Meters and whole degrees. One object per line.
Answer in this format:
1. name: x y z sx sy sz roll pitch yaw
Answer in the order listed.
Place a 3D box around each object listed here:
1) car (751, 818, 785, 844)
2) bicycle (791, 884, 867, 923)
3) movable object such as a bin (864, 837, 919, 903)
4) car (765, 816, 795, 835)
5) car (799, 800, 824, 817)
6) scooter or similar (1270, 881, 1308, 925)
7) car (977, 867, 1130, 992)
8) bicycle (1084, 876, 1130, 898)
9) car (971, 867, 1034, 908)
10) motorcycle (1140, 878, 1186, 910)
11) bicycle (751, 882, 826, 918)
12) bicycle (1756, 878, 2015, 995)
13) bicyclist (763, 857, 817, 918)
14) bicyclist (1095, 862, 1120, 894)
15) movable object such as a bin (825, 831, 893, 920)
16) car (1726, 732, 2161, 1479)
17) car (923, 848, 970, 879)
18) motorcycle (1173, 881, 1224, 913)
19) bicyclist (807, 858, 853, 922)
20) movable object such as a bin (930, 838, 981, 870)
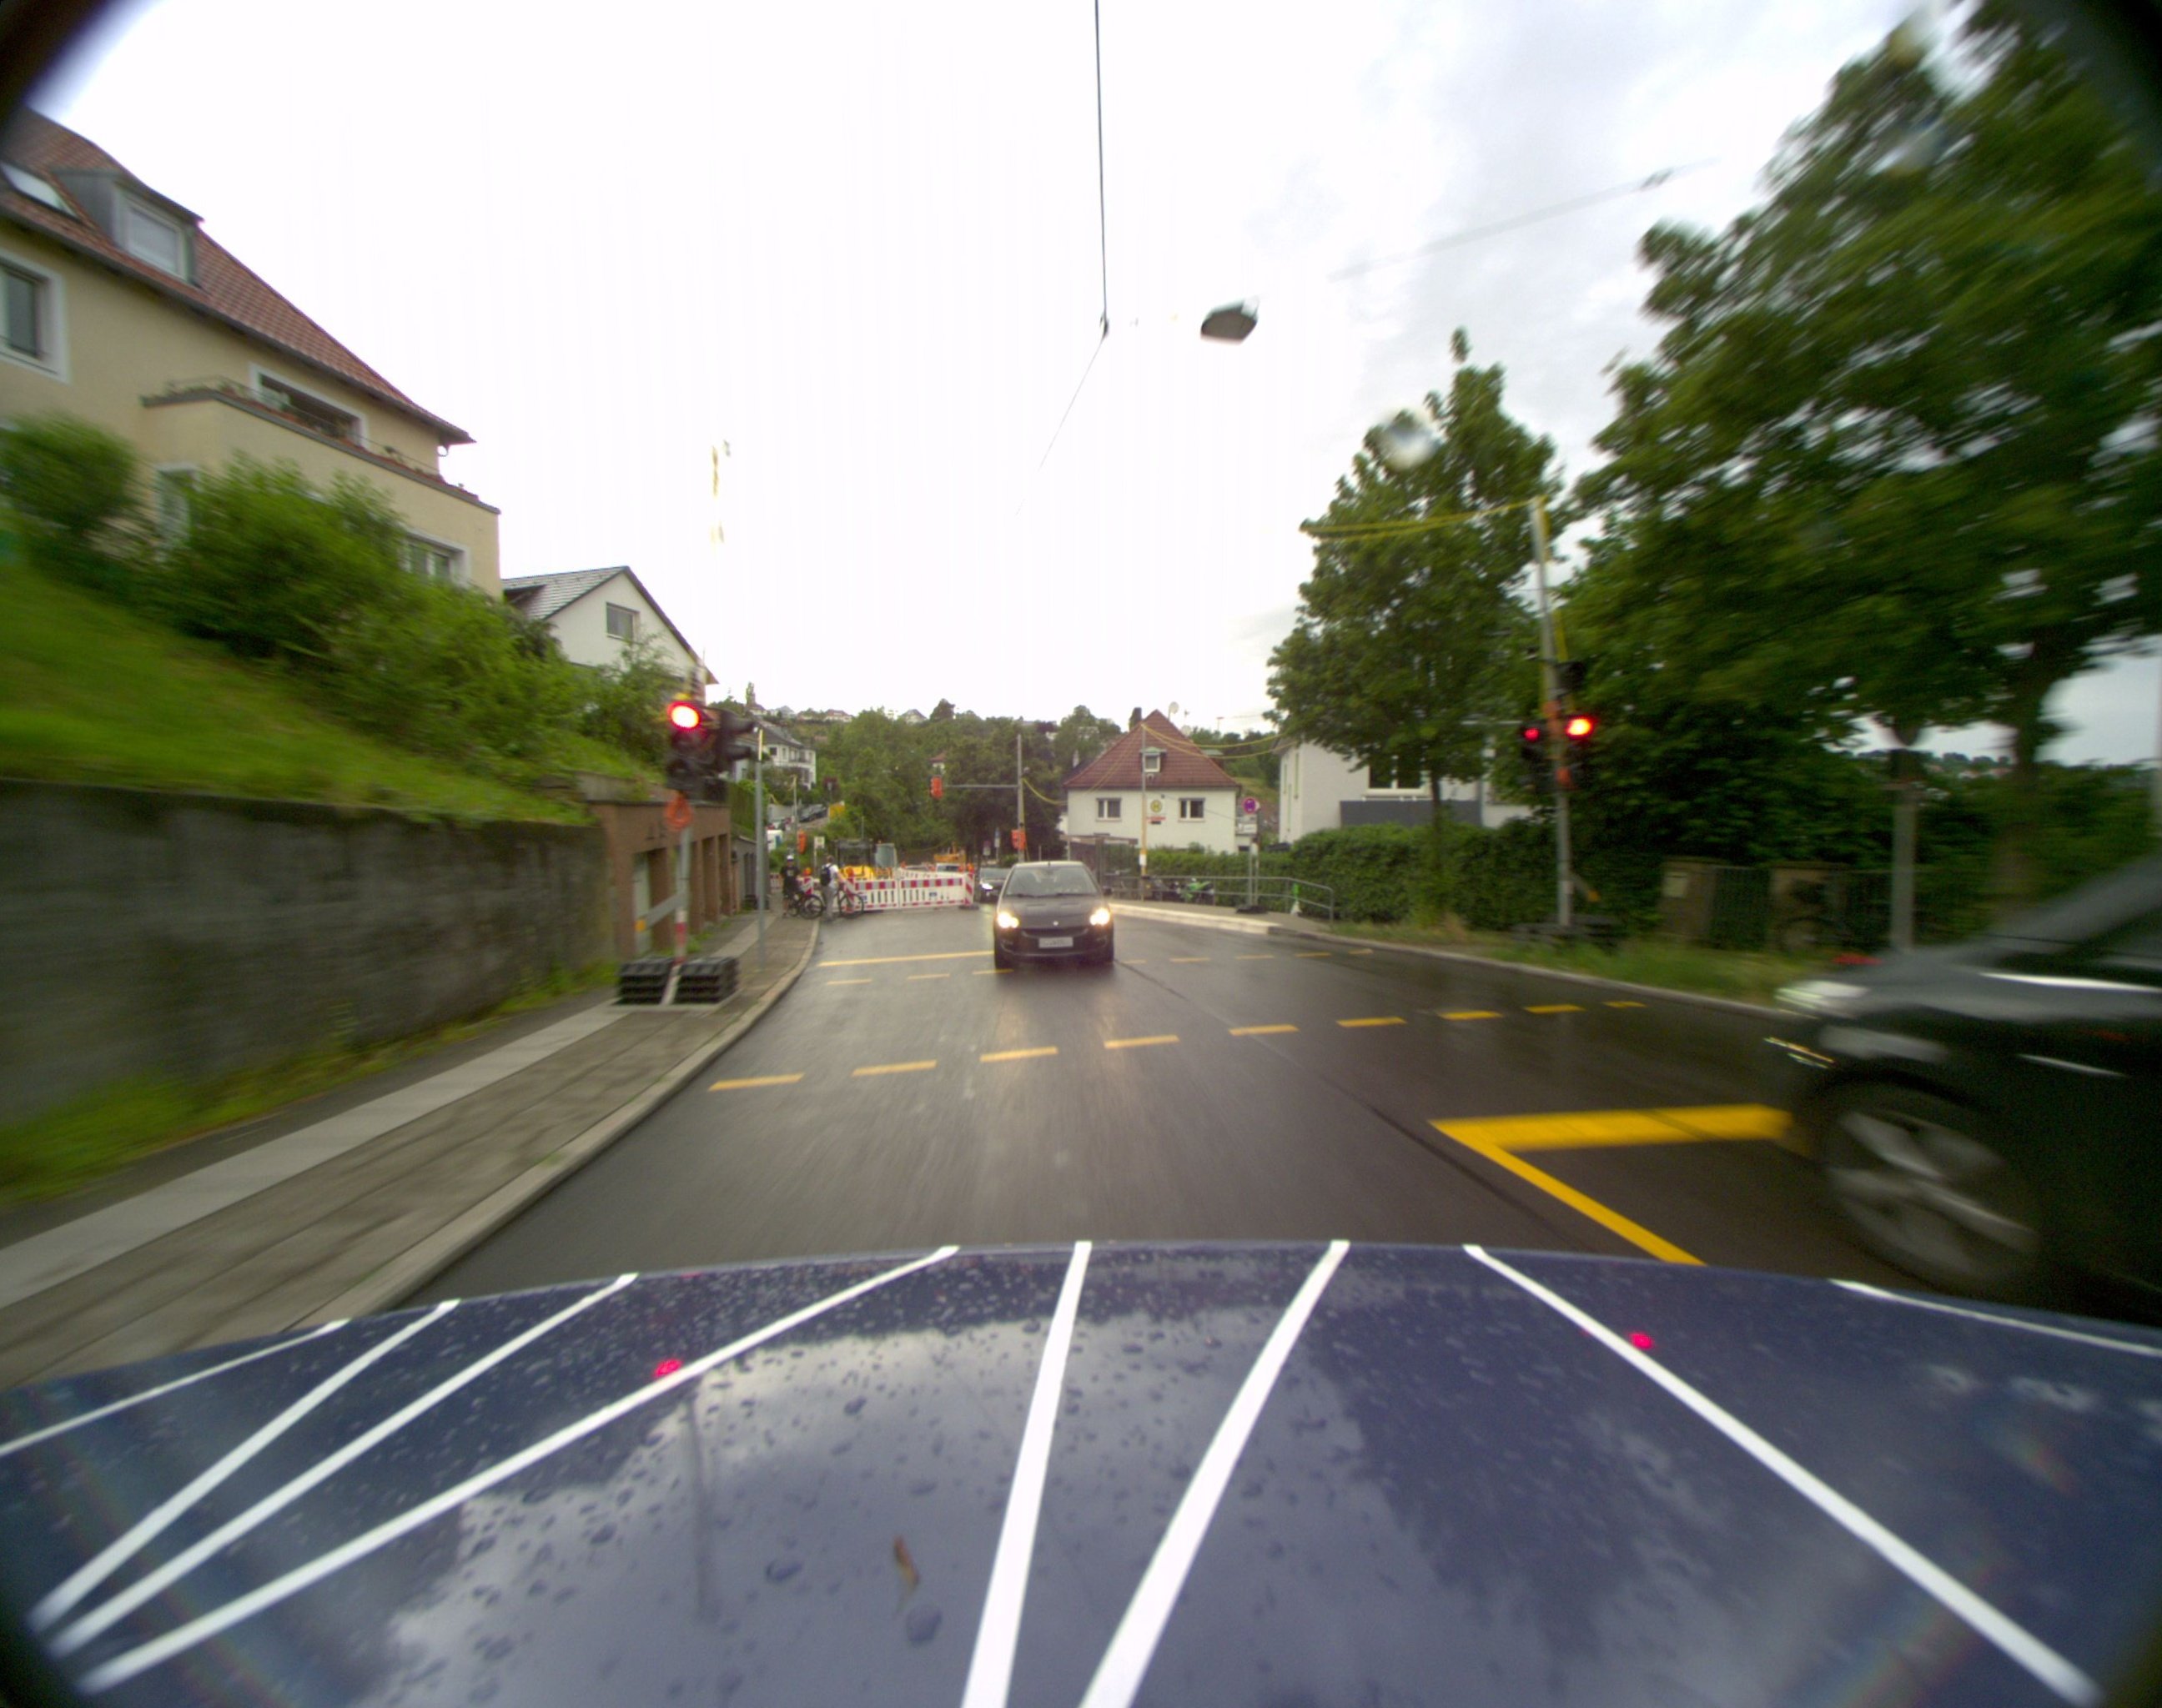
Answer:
1. car: -32.204 -2.431 78.214 1.901 2.069 4.420 1 9 -4
2. bicycle: -7.073 1.368 21.308 1.887 0.975 0.931 -1 1 -27
3. movable object such as a bin: -9.052 0.628 35.911 2.095 2.822 5.665 0 2 -18
4. car: -32.605 -3.102 82.448 1.860 1.628 3.956 1 9 -4
5. car: -32.949 -5.629 93.087 1.860 1.629 3.955 1 10 -4
6. scooter or similar: 5.281 1.234 19.371 0.325 1.074 1.093 2 -1 -21
7. car: -0.658 1.012 12.160 1.676 1.457 4.710 1 1 -11
8. bicycle: 1.194 1.518 35.062 1.878 0.926 1.096 1 0 -11
9. car: -3.272 1.315 30.971 1.846 1.395 4.064 1 1 -16
10. motorcycle: 2.846 1.396 26.677 0.669 1.030 2.148 1 -1 -22
11. bicycle: -8.473 1.328 22.065 1.826 0.975 0.934 0 1 16
12. bicycle: 10.091 0.961 9.694 0.492 1.264 2.270 -2 0 -15
13. bicyclist: -8.426 0.944 22.040 1.075 1.718 0.934 0 1 16
14. bicyclist: 1.210 1.080 35.057 0.909 1.430 1.096 1 0 -10
15. movable object such as a bin: -7.981 0.716 27.012 2.095 2.821 5.668 0 -1 -18
16. car: 3.728 0.652 0.595 1.902 1.878 5.151 1 0 -2
17. car: -8.037 0.502 45.103 2.003 1.699 4.565 1 1 -20
18. motorcycle: 3.752 1.369 24.417 0.669 0.928 2.006 1 -1 -22
19. bicyclist: -7.042 0.984 21.319 1.078 1.718 0.931 -1 1 -27
20. movable object such as a bin: -15.374 -0.027 93.539 3.325 3.817 7.213 1 1 17
